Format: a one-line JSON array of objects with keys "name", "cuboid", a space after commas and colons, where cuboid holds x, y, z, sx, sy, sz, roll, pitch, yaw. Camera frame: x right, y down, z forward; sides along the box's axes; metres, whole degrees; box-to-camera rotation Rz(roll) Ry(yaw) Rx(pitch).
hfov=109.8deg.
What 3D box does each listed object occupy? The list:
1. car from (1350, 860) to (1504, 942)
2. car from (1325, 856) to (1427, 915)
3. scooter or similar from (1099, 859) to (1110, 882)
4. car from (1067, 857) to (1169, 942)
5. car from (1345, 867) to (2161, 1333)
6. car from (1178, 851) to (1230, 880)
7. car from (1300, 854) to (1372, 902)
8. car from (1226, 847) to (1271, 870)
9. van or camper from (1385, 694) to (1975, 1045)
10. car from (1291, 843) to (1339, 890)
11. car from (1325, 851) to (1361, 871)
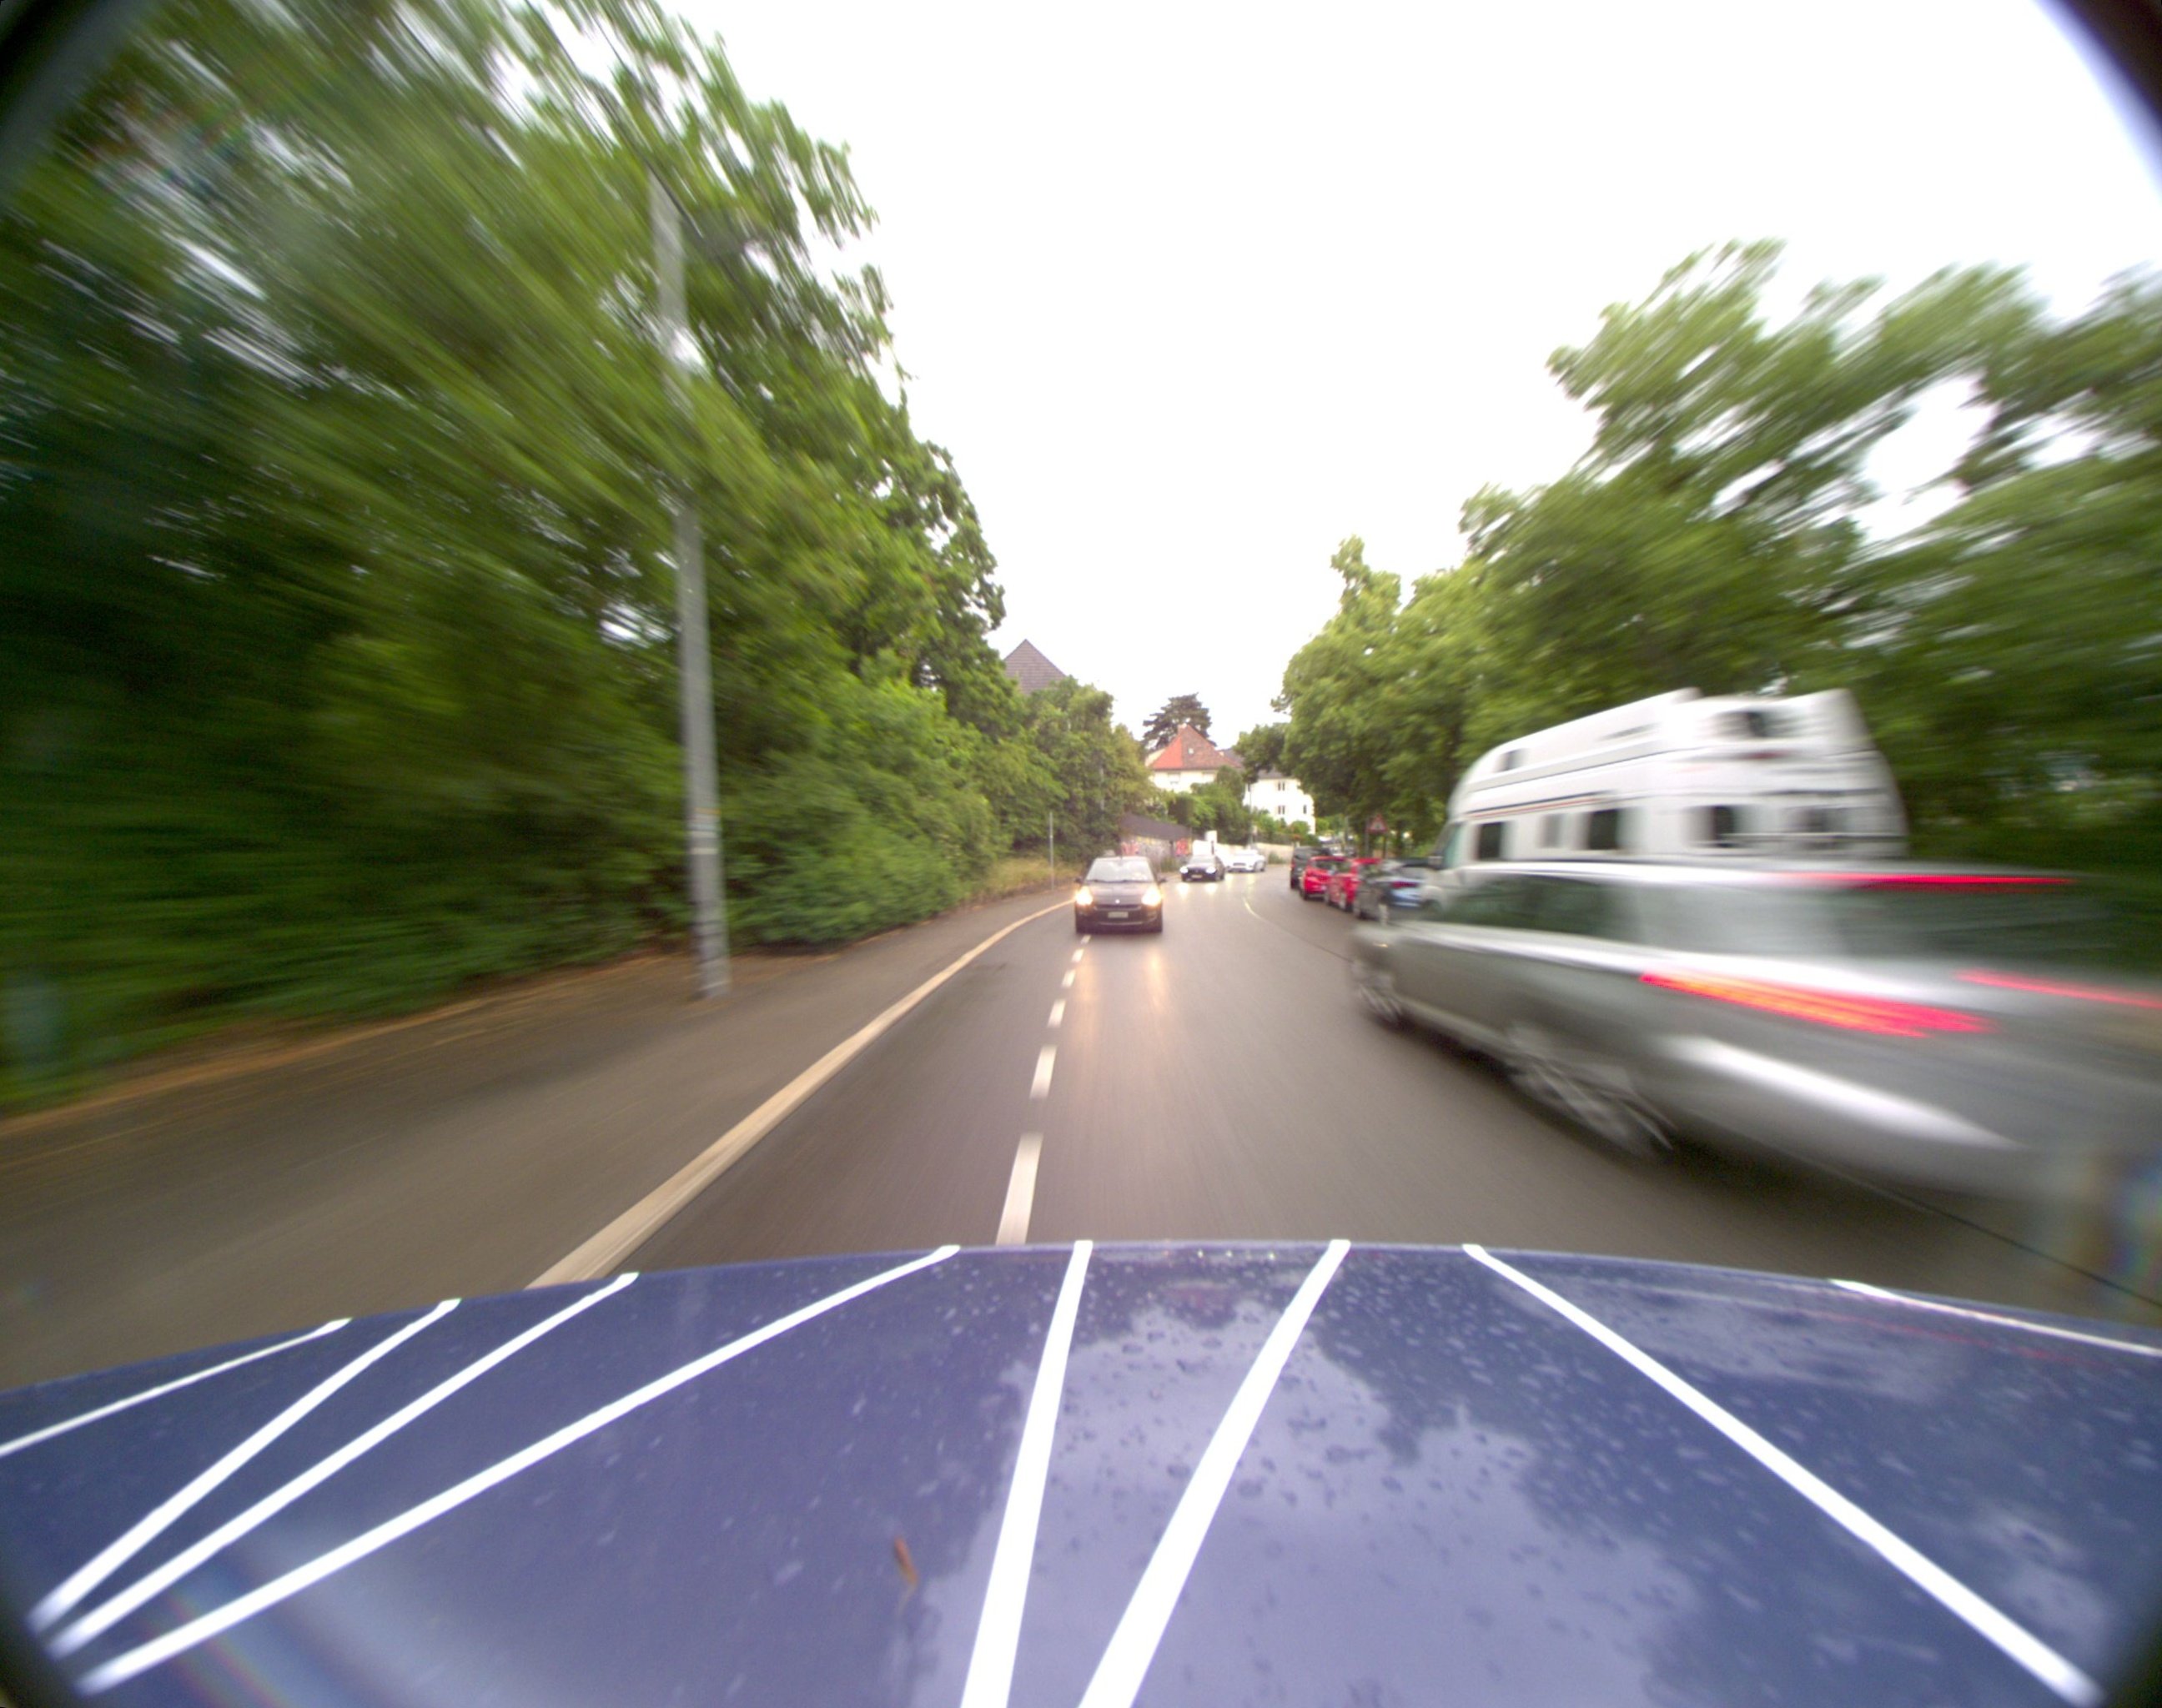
[{"name": "car", "cuboid": [7.155, 0.881, 16.206, 1.957, 1.400, 4.211, 2, 1, 10]}, {"name": "car", "cuboid": [8.094, 0.811, 21.169, 1.957, 1.400, 3.547, 2, 1, 10]}, {"name": "scooter or similar", "cuboid": [1.212, 0.822, 38.993, 0.346, 1.111, 1.423, 4, 2, 8]}, {"name": "car", "cuboid": [0.753, 0.829, 15.873, 1.804, 1.418, 4.383, -2, 1, 2]}, {"name": "car", "cuboid": [3.323, 0.842, 4.618, 1.888, 1.394, 4.255, 0, 1, -1]}, {"name": "car", "cuboid": [6.705, 0.564, 41.138, 2.027, 1.454, 4.006, 0, 1, 21]}, {"name": "car", "cuboid": [8.787, 0.756, 26.569, 1.957, 1.453, 4.580, 2, 1, 14]}, {"name": "car", "cuboid": [12.238, 0.286, 55.422, 2.026, 1.619, 4.236, 0, 1, 30]}, {"name": "van or camper", "cuboid": [6.541, 0.092, 9.935, 2.511, 3.009, 6.561, 2, 1, 1]}, {"name": "car", "cuboid": [11.152, 0.572, 36.103, 1.956, 1.956, 5.009, 4, 1, 18]}, {"name": "car", "cuboid": [19.962, 0.526, 57.753, 1.655, 1.421, 4.384, 3, 1, 31]}]
